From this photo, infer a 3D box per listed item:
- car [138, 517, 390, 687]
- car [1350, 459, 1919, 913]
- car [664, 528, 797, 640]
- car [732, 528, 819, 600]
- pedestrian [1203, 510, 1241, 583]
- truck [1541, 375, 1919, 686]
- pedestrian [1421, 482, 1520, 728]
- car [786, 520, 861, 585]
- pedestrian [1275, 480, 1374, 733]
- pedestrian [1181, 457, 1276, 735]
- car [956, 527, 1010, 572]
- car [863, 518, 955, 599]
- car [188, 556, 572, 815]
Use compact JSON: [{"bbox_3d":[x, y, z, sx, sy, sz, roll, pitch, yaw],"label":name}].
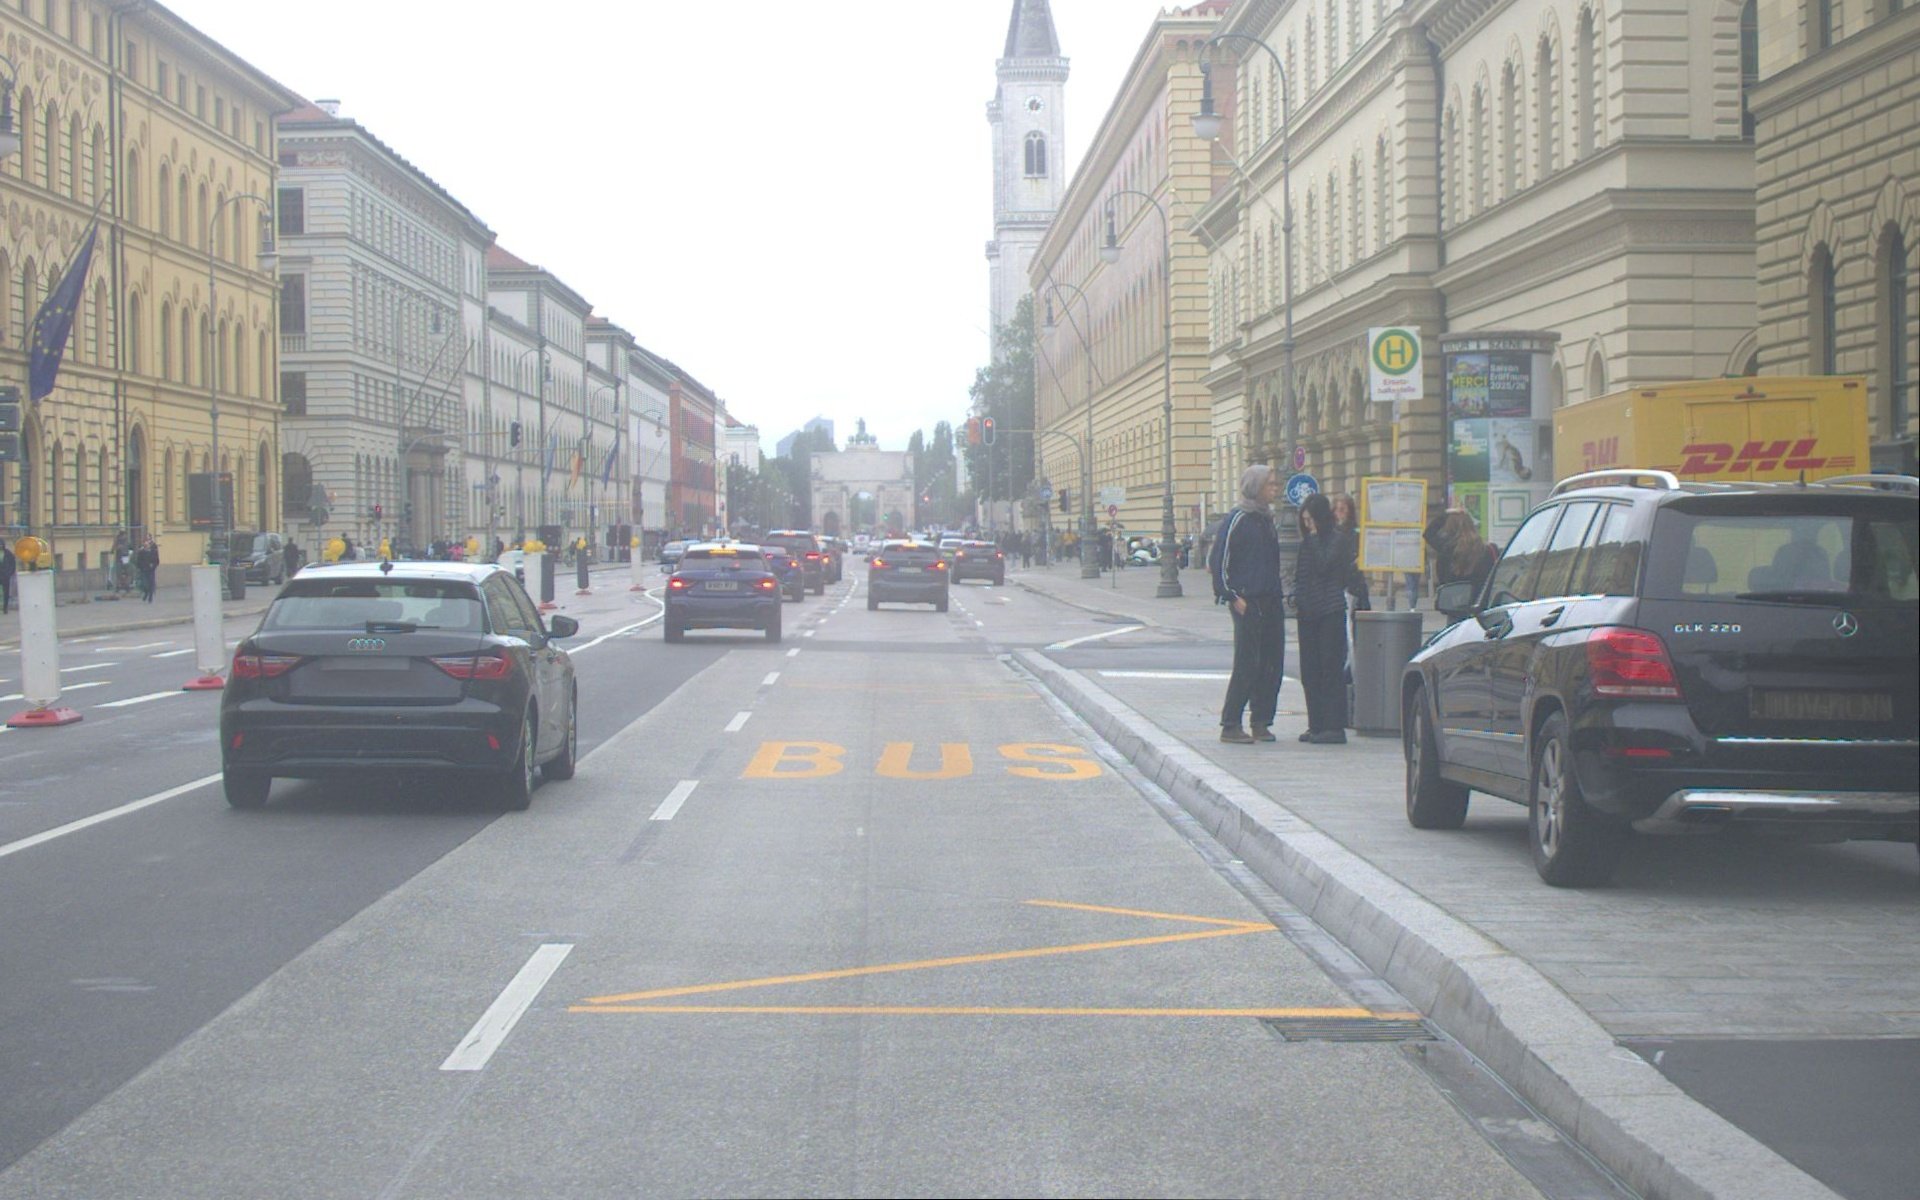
[{"bbox_3d":[-6.970,0.015,34.782,1.769,1.611,4.000,0,0,-1],"label":"car"},{"bbox_3d":[3.073,0.285,14.713,2.068,1.656,4.223,0,1,-4],"label":"car"},{"bbox_3d":[-3.436,-0.234,52.084,1.769,1.611,4.000,0,0,-1],"label":"car"},{"bbox_3d":[-4.648,-0.931,86.975,1.993,1.766,4.000,-1,1,-1],"label":"car"},{"bbox_3d":[6.124,-1.237,80.272,0.797,1.684,0.800,0,0,-1],"label":"pedestrian"},{"bbox_3d":[7.370,-0.627,33.642,2.622,2.755,5.806,0,0,3],"label":"truck"},{"bbox_3d":[3.568,0.033,24.067,0.615,1.696,0.541,0,0,2],"label":"pedestrian"},{"bbox_3d":[-3.859,-1.354,97.639,1.993,1.766,4.000,-1,1,-1],"label":"car"},{"bbox_3d":[2.476,0.047,23.379,0.615,1.696,0.541,0,0,2],"label":"pedestrian"},{"bbox_3d":[1.825,-0.027,23.440,0.615,1.868,0.541,0,0,3],"label":"pedestrian"},{"bbox_3d":[0.824,-1.834,125.117,1.859,1.573,4.000,0,0,-1],"label":"car"},{"bbox_3d":[-1.151,-0.953,77.648,1.993,1.766,4.000,-1,1,-1],"label":"car"},{"bbox_3d":[-3.373,0.439,20.662,1.863,1.383,4.001,0,1,-4],"label":"car"}]
